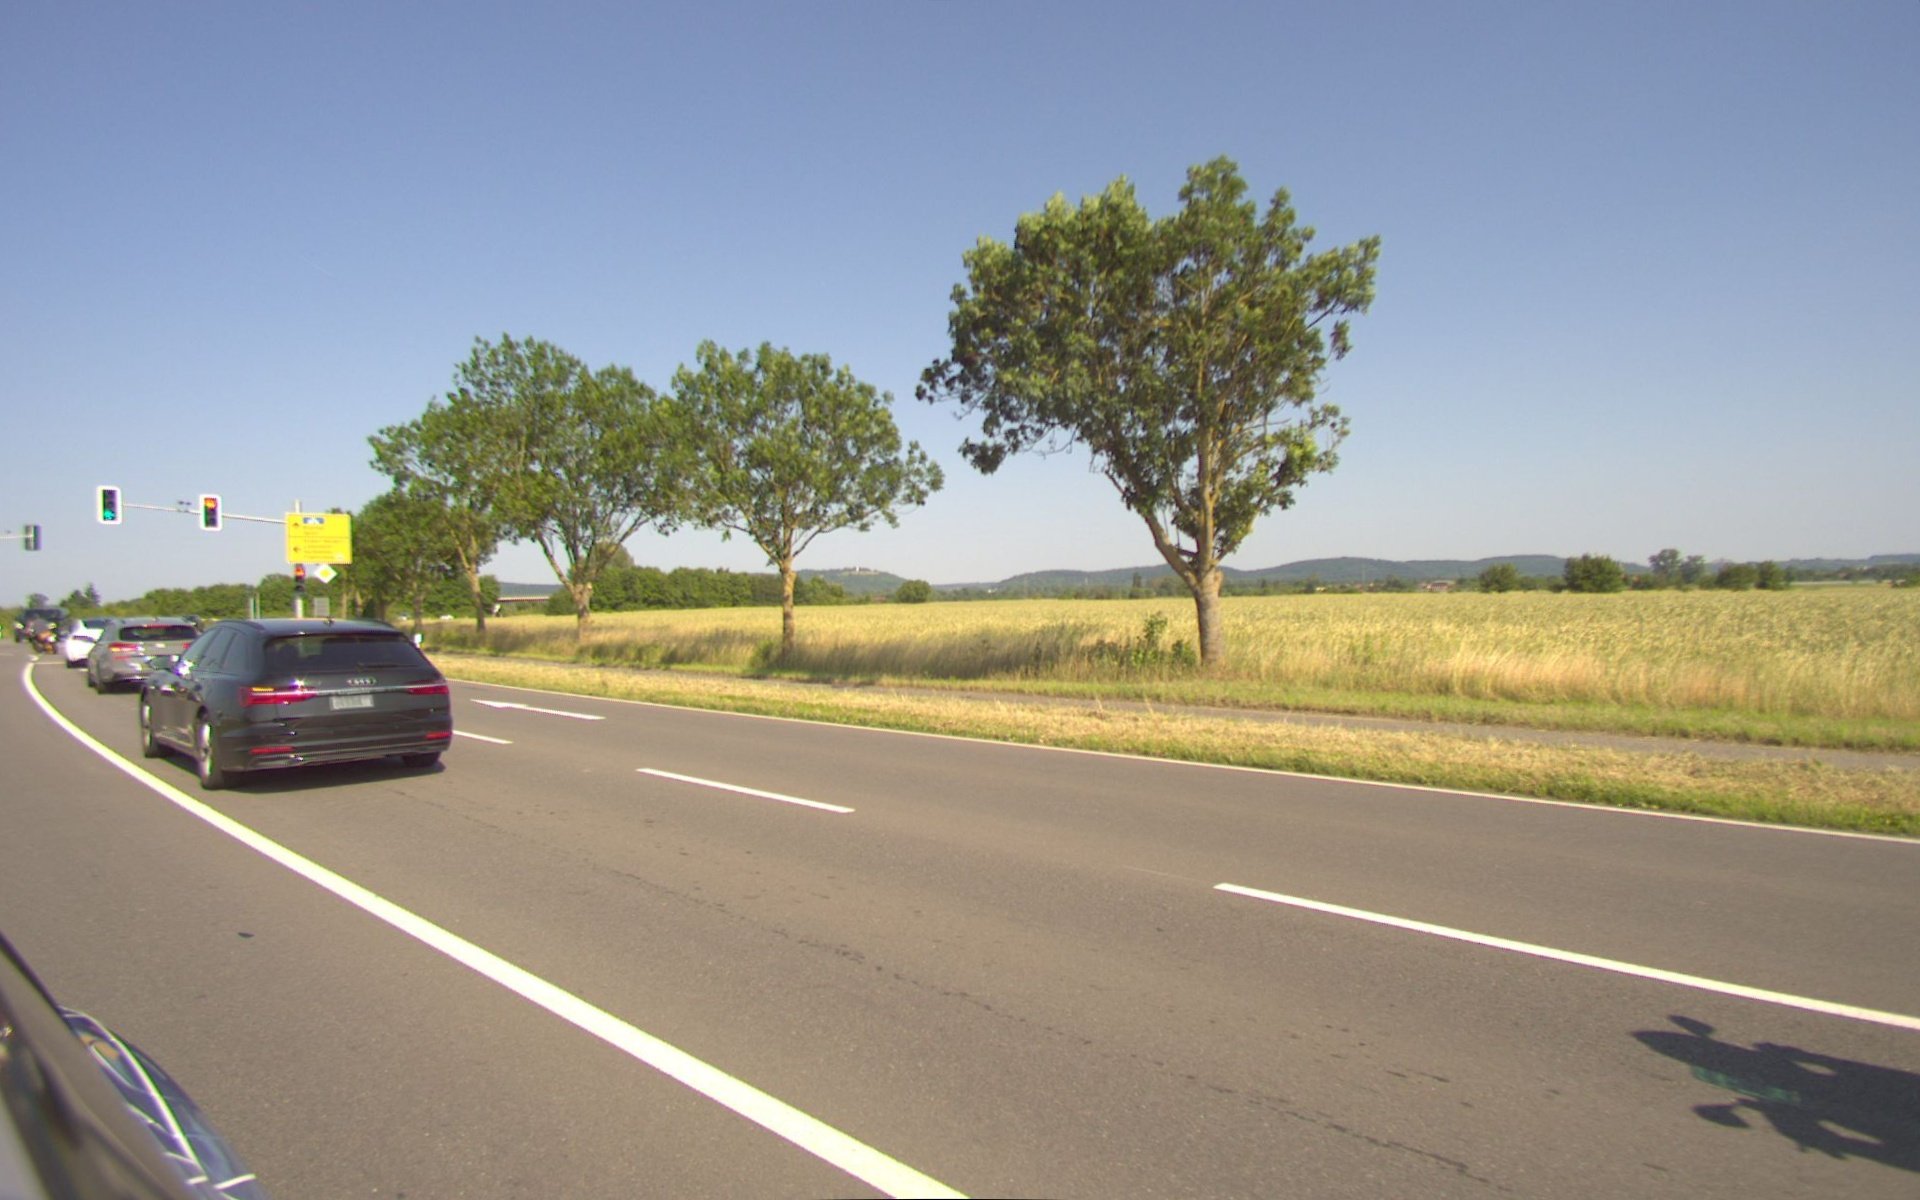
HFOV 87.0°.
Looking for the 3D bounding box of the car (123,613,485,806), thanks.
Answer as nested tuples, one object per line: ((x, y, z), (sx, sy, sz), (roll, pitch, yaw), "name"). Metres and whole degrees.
((-6.689, 0.875, 10.064), (4.796, 1.447, 1.870), (-1, -1, 42), "car")

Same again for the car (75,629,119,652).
((-63.202, 2.936, 74.149), (1.831, 1.554, 4.012), (0, -1, -32), "car")

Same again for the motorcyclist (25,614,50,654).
((-35.971, 1.307, 39.444), (1.182, 1.527, 0.671), (-2, -1, 45), "motorcyclist")

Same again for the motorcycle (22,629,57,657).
((-35.823, 1.668, 39.367), (2.429, 1.051, 0.886), (-2, -1, 44), "motorcycle")

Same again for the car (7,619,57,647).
((-54.157, 1.925, 59.133), (1.833, 1.554, 4.008), (0, -1, -38), "car")

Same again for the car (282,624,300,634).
((-92.495, 3.978, 139.915), (1.606, 1.387, 4.436), (1, -2, -28), "car")

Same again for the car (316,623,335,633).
((-101.115, 4.467, 161.234), (1.858, 1.638, 4.013), (1, -2, -21), "car")

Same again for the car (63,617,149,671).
((-25.978, 1.300, 30.861), (1.866, 1.477, 4.283), (-1, 0, -39), "car")

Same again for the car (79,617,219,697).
((-16.779, 1.085, 20.858), (1.868, 1.472, 4.309), (1, -1, -44), "car")
